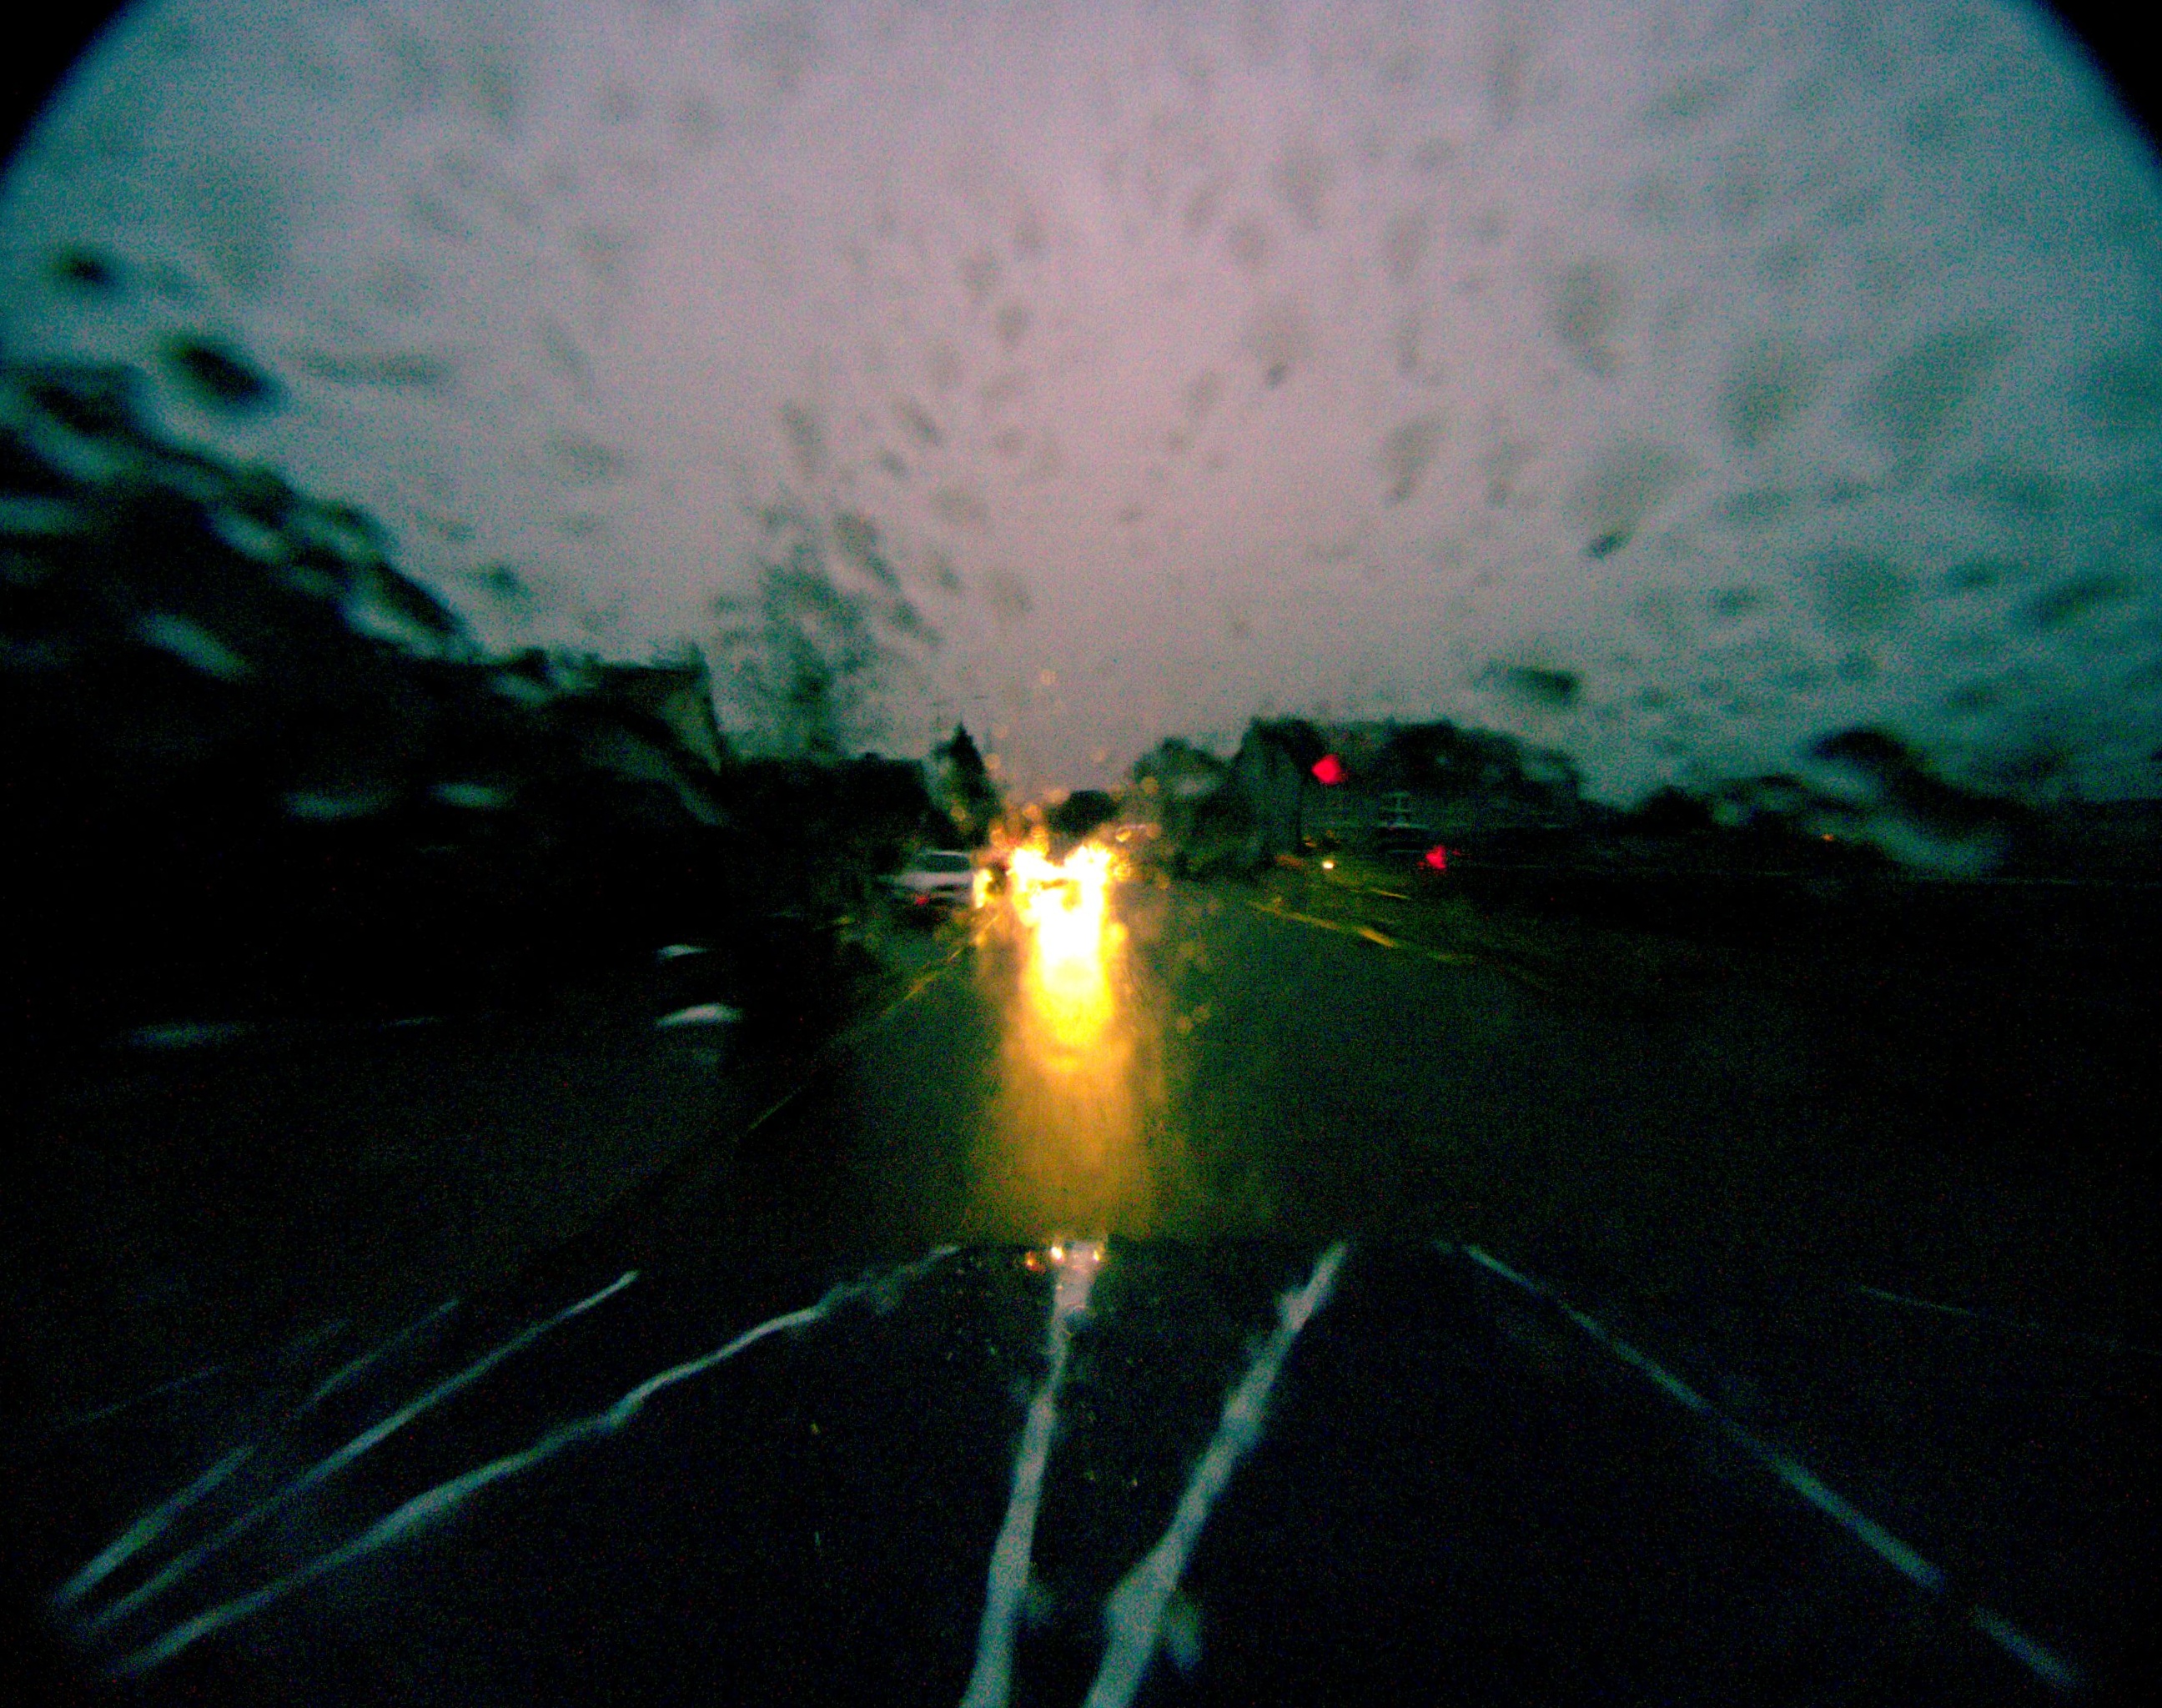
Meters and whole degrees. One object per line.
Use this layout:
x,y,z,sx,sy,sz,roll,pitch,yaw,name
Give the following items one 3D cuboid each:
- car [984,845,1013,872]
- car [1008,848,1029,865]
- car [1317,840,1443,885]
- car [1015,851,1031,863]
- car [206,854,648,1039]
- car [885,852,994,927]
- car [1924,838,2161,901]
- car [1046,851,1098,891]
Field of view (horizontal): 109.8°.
-5.841,0.300,53.457,1.917,1.780,4.563,0,0,-7,car
-6.098,0.237,74.352,1.906,1.630,4.565,0,0,-3,car
12.192,0.343,31.198,4.342,1.611,2.000,-3,1,2,car
-7.654,0.388,100.661,1.827,1.461,4.053,0,0,-9,car
-6.867,0.802,8.746,1.813,1.543,4.301,0,0,-8,car
-3.241,0.741,18.195,1.812,1.555,4.304,0,0,0,car
24.951,0.331,19.824,1.680,1.406,3.833,-3,1,1,car
-0.433,0.720,32.264,1.999,1.525,4.000,-2,-1,-2,car
